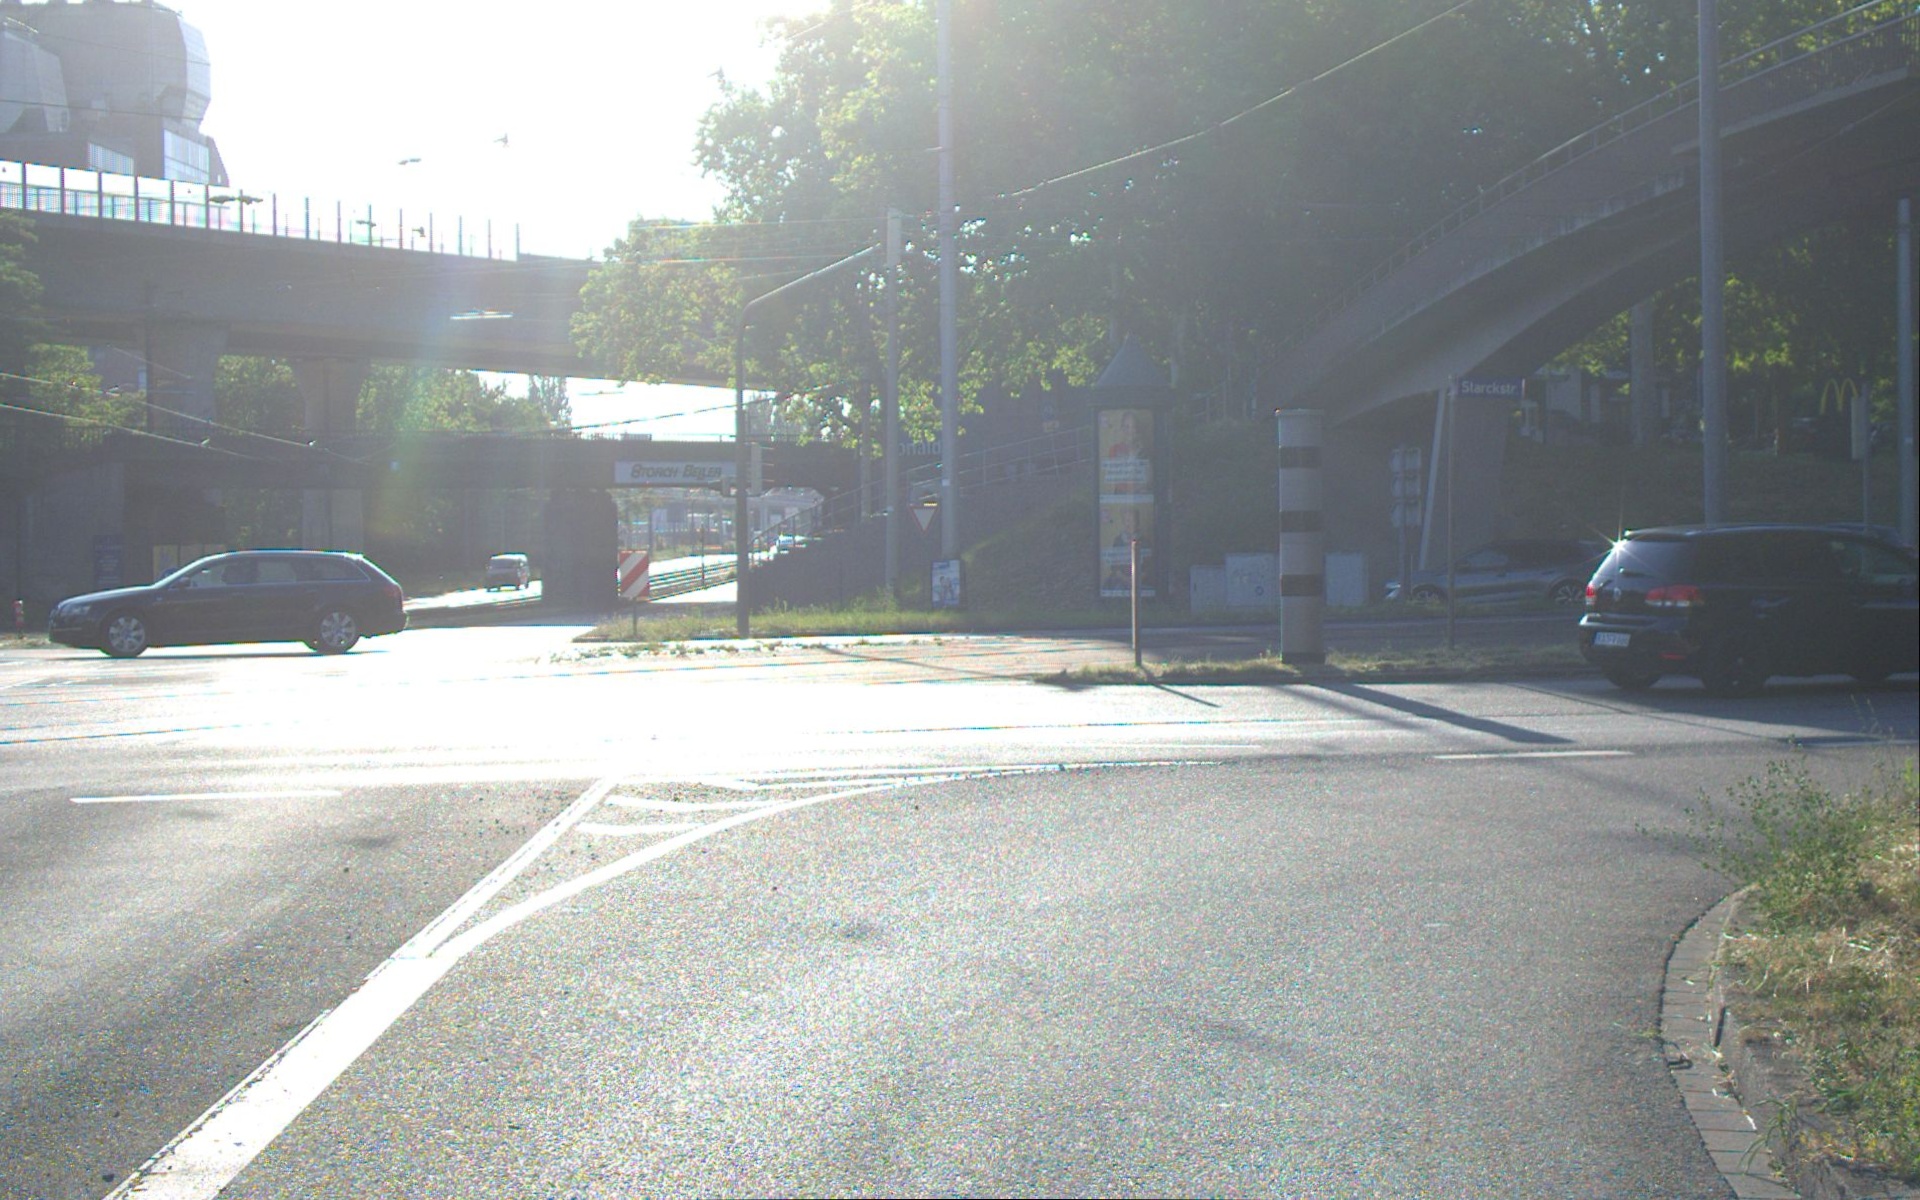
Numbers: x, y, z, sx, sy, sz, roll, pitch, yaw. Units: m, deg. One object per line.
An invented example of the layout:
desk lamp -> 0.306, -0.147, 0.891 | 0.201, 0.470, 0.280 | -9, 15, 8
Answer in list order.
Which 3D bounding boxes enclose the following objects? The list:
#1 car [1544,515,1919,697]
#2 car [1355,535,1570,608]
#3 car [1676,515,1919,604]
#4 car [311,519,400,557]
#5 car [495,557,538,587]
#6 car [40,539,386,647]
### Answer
car -> 7.260, 0.027, 30.064 | 3.903, 1.512, 1.735 | 0, 1, -22
car -> 9.909, -0.565, 67.704 | 4.139, 1.417, 1.696 | 0, 1, 10
car -> 13.752, -0.662, 56.040 | 3.720, 1.417, 1.697 | 0, 1, -19
car -> -28.974, -2.953, 164.848 | 1.997, 1.765, 3.993 | 1, 1, 32
car -> -25.227, -1.599, 195.709 | 1.711, 1.647, 4.095 | 0, 1, 3
car -> -10.397, -0.114, 47.796 | 4.518, 1.449, 2.001 | 0, 1, -18
